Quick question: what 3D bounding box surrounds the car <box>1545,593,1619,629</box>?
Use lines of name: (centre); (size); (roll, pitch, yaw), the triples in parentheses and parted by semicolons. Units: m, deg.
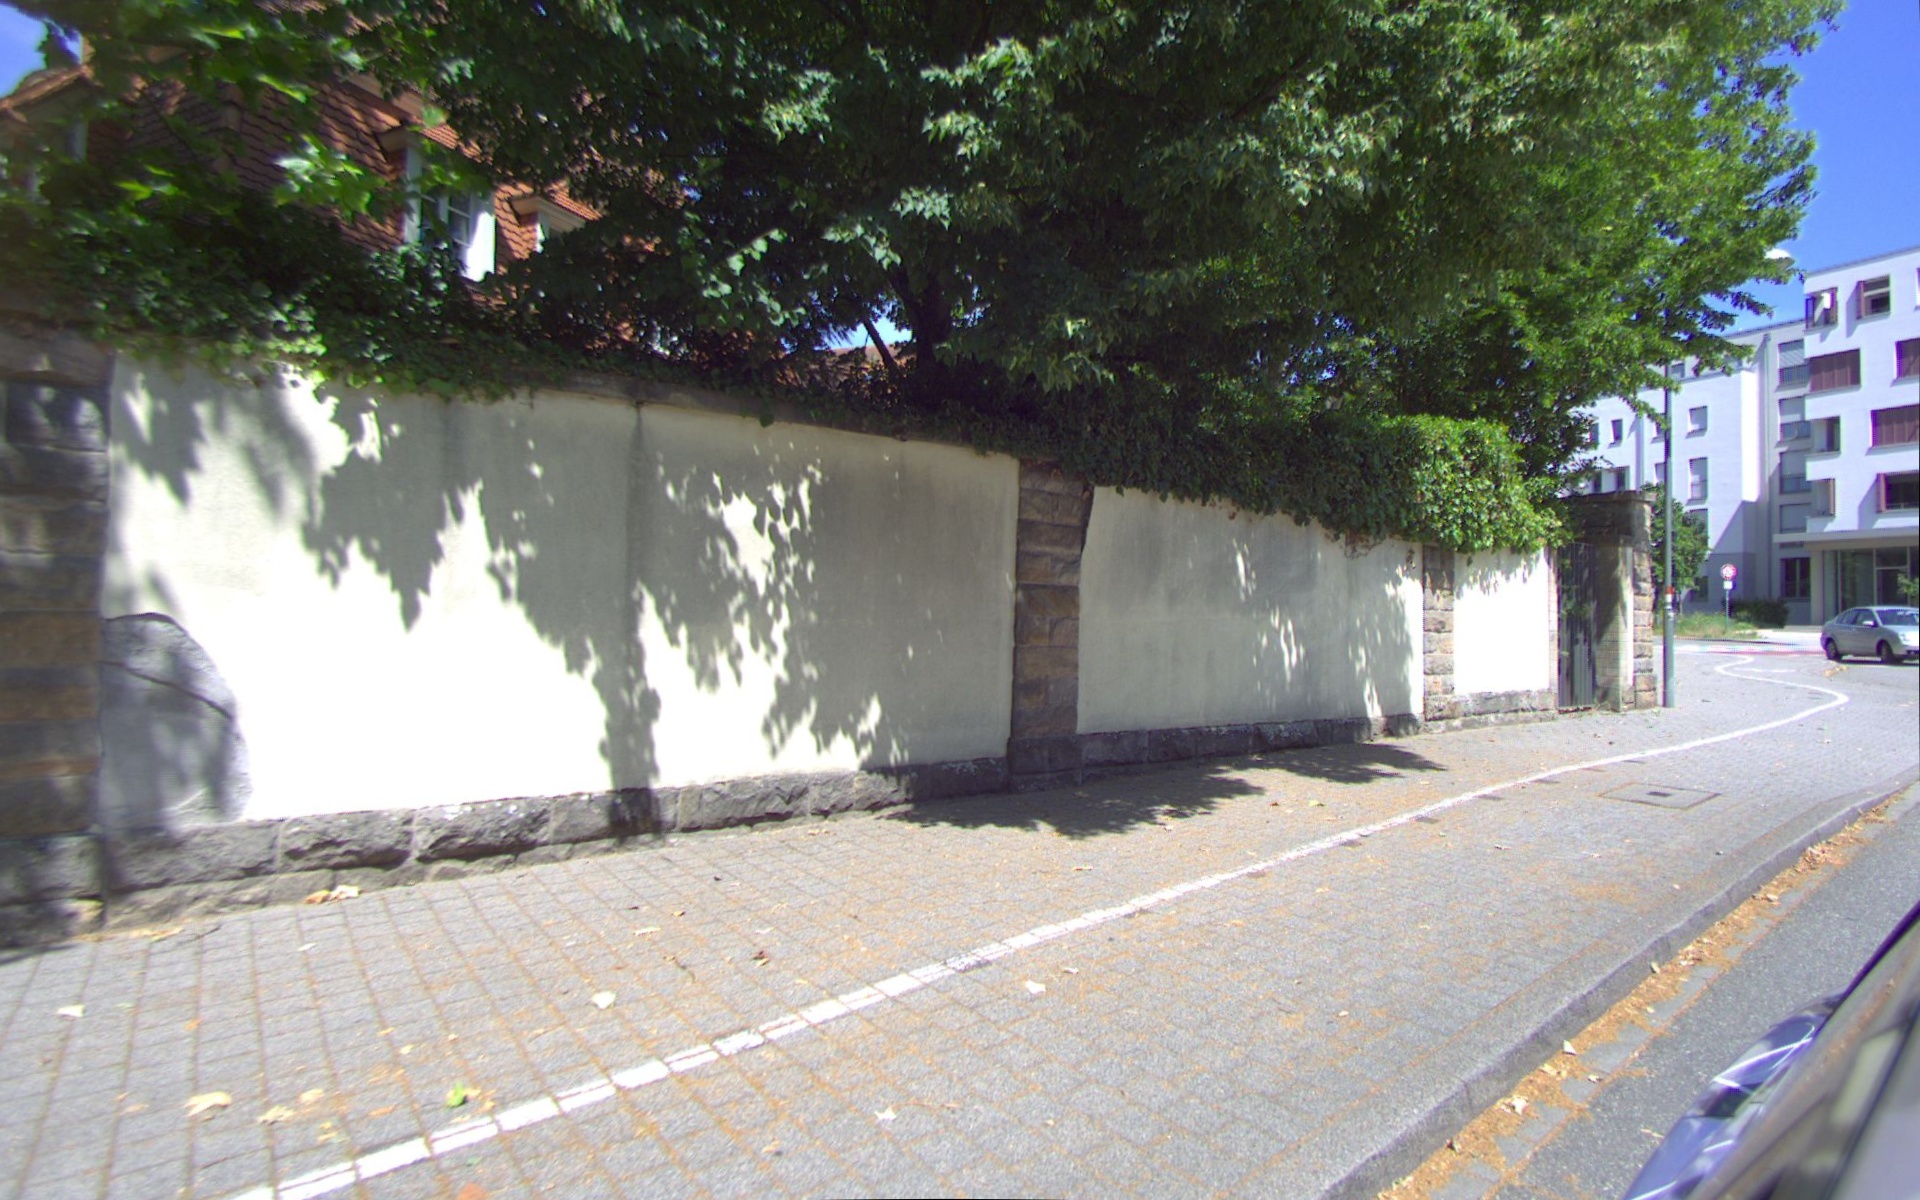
car: (27.991, 0.496, 45.602); (1.540, 1.550, 2.789); (0, 0, -1)

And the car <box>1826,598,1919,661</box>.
car: (23.800, 0.693, 25.544); (1.588, 1.470, 3.974); (-1, 0, 20)
